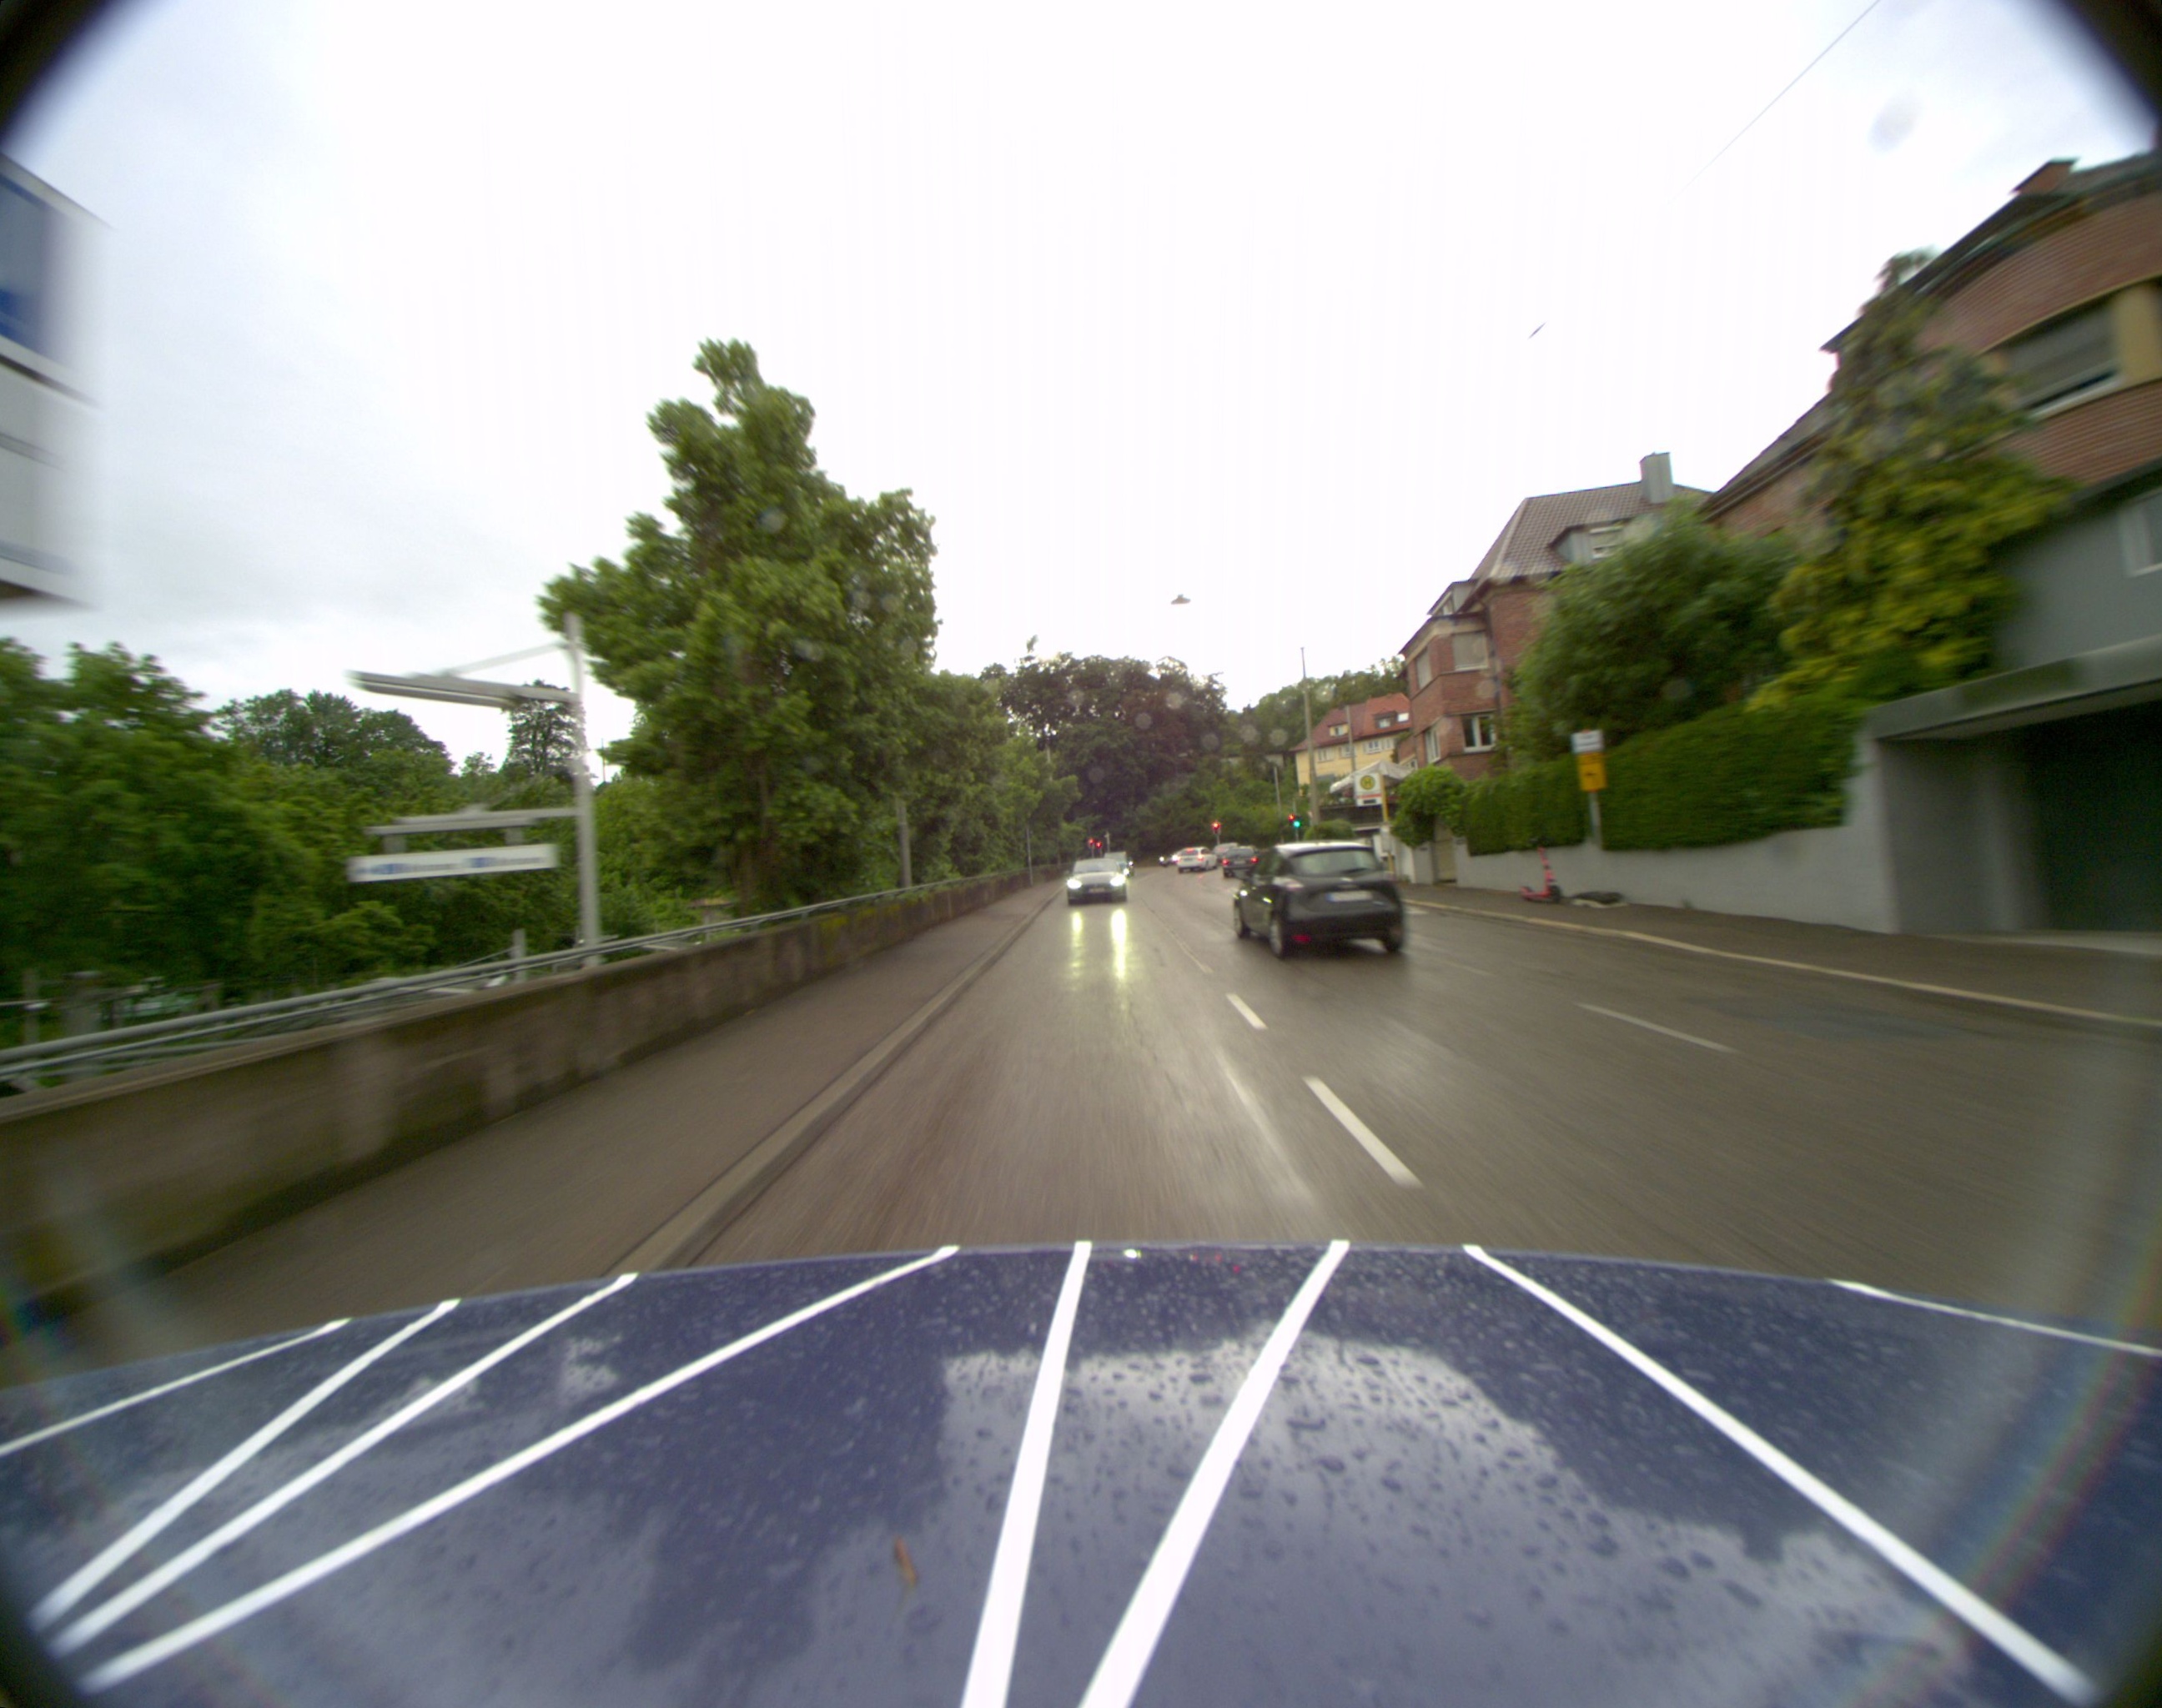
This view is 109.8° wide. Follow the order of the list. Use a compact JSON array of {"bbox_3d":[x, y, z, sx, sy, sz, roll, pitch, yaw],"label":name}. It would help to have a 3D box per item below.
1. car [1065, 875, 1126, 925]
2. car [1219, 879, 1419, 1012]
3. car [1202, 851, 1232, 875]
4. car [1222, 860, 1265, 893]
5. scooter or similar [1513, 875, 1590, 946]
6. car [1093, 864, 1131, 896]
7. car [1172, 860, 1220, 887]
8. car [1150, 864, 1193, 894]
[{"bbox_3d":[0.511,1.493,25.968,1.835,1.383,4.325,-3,-1,2],"label":"car"},{"bbox_3d":[3.330,1.207,11.478,1.772,1.511,3.976,-3,-1,1],"label":"car"},{"bbox_3d":[9.616,0.592,54.106,1.862,1.387,4.598,-4,1,8],"label":"car"},{"bbox_3d":[8.378,1.094,38.893,1.739,1.442,4.621,-3,0,17],"label":"car"},{"bbox_3d":[8.673,1.013,14.063,0.523,1.196,1.436,-2,0,2],"label":"scooter or similar"},{"bbox_3d":[1.863,1.567,45.164,1.800,1.599,4.046,-5,-4,7],"label":"car"},{"bbox_3d":[7.185,1.170,47.194,1.849,1.465,4.447,-2,0,23],"label":"car"},{"bbox_3d":[7.487,2.103,62.626,1.996,1.999,4.011,-8,-9,27],"label":"car"}]
